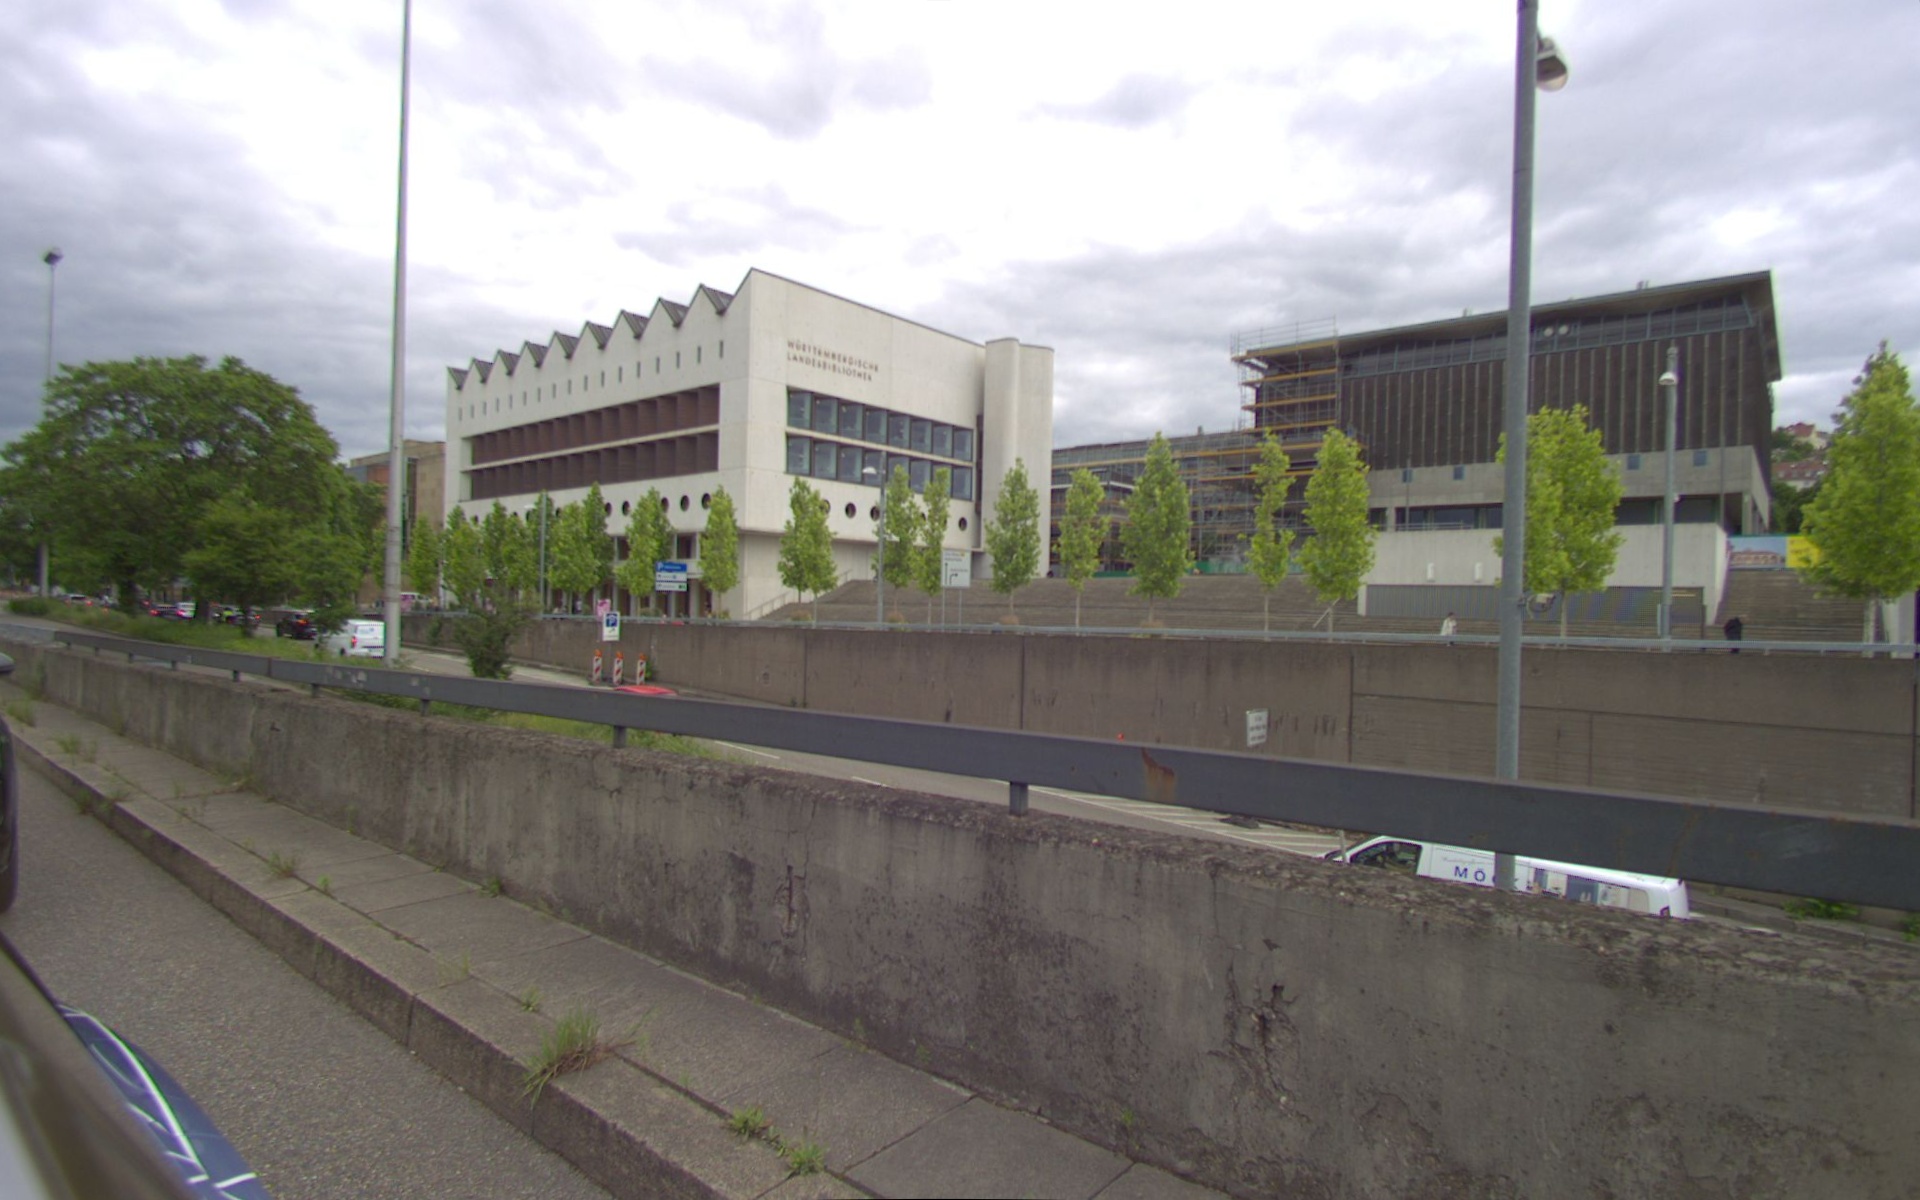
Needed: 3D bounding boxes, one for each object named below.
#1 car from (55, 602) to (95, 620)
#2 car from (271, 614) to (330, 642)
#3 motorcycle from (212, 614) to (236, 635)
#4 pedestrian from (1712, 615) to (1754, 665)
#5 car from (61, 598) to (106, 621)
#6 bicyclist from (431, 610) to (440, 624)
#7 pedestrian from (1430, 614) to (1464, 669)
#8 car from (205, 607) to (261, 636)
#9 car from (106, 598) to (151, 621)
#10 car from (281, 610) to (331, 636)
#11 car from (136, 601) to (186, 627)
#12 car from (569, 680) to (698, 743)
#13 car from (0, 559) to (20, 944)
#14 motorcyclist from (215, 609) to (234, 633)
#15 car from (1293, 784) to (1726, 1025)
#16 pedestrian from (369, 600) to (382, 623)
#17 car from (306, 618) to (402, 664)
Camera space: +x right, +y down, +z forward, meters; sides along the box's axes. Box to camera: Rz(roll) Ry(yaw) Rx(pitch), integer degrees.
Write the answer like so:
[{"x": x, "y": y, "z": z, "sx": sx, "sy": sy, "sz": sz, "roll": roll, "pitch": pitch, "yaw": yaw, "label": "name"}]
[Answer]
[{"x": -76.085, "y": 0.922, "z": 86.981, "sx": 3.998, "sy": 1.409, "sz": 1.973, "roll": 0, "pitch": -4, "yaw": 41, "label": "car"}, {"x": -39.200, "y": 1.674, "z": 60.113, "sx": 4.004, "sy": 1.338, "sz": 1.787, "roll": 4, "pitch": 0, "yaw": 40, "label": "car"}, {"x": -44.202, "y": 1.468, "z": 60.789, "sx": 2.050, "sy": 1.106, "sz": 0.678, "roll": 3, "pitch": -2, "yaw": 41, "label": "motorcycle"}, {"x": 25.863, "y": 1.343, "z": 33.873, "sx": 0.728, "sy": 1.655, "sz": 0.795, "roll": 0, "pitch": -2, "yaw": -21, "label": "pedestrian"}, {"x": -68.861, "y": 0.715, "z": 79.453, "sx": 4.515, "sy": 1.687, "sz": 1.973, "roll": 0, "pitch": -4, "yaw": 41, "label": "car"}, {"x": -44.992, "y": 1.442, "z": 86.810, "sx": 0.643, "sy": 1.169, "sz": 0.398, "roll": 1, "pitch": 1, "yaw": 39, "label": "bicyclist"}, {"x": 18.091, "y": 1.535, "z": 37.577, "sx": 0.728, "sy": 2.029, "sz": 0.795, "roll": 0, "pitch": -2, "yaw": -19, "label": "pedestrian"}, {"x": -49.127, "y": 1.420, "z": 68.343, "sx": 4.386, "sy": 1.624, "sz": 1.852, "roll": 4, "pitch": 0, "yaw": 38, "label": "car"}, {"x": -71.670, "y": 0.797, "z": 87.225, "sx": 4.514, "sy": 1.657, "sz": 2.133, "roll": 2, "pitch": -2, "yaw": 40, "label": "car"}, {"x": -48.670, "y": 1.711, "z": 75.271, "sx": 3.998, "sy": 1.776, "sz": 1.973, "roll": 0, "pitch": -3, "yaw": 41, "label": "car"}, {"x": -53.485, "y": 0.940, "z": 67.720, "sx": 4.144, "sy": 1.500, "sz": 1.757, "roll": 3, "pitch": 0, "yaw": 40, "label": "car"}, {"x": -9.818, "y": 3.282, "z": 30.316, "sx": 3.999, "sy": 1.497, "sz": 1.972, "roll": -1, "pitch": -2, "yaw": 42, "label": "car"}, {"x": -6.309, "y": 0.625, "z": 5.204, "sx": 4.733, "sy": 1.602, "sz": 1.879, "roll": 0, "pitch": 0, "yaw": 44, "label": "car"}, {"x": -44.213, "y": 1.242, "z": 60.811, "sx": 0.718, "sy": 1.362, "sz": 0.662, "roll": 3, "pitch": -3, "yaw": 41, "label": "motorcyclist"}, {"x": 7.711, "y": 4.077, "z": 14.569, "sx": 5.115, "sy": 2.029, "sz": 2.194, "roll": -1, "pitch": -2, "yaw": 42, "label": "car"}, {"x": -52.525, "y": 1.012, "z": 91.005, "sx": 1.016, "sy": 2.029, "sz": 0.712, "roll": 1, "pitch": 1, "yaw": 42, "label": "pedestrian"}, {"x": -27.539, "y": 1.848, "z": 45.920, "sx": 5.246, "sy": 1.651, "sz": 1.973, "roll": 2, "pitch": -5, "yaw": 40, "label": "car"}]
